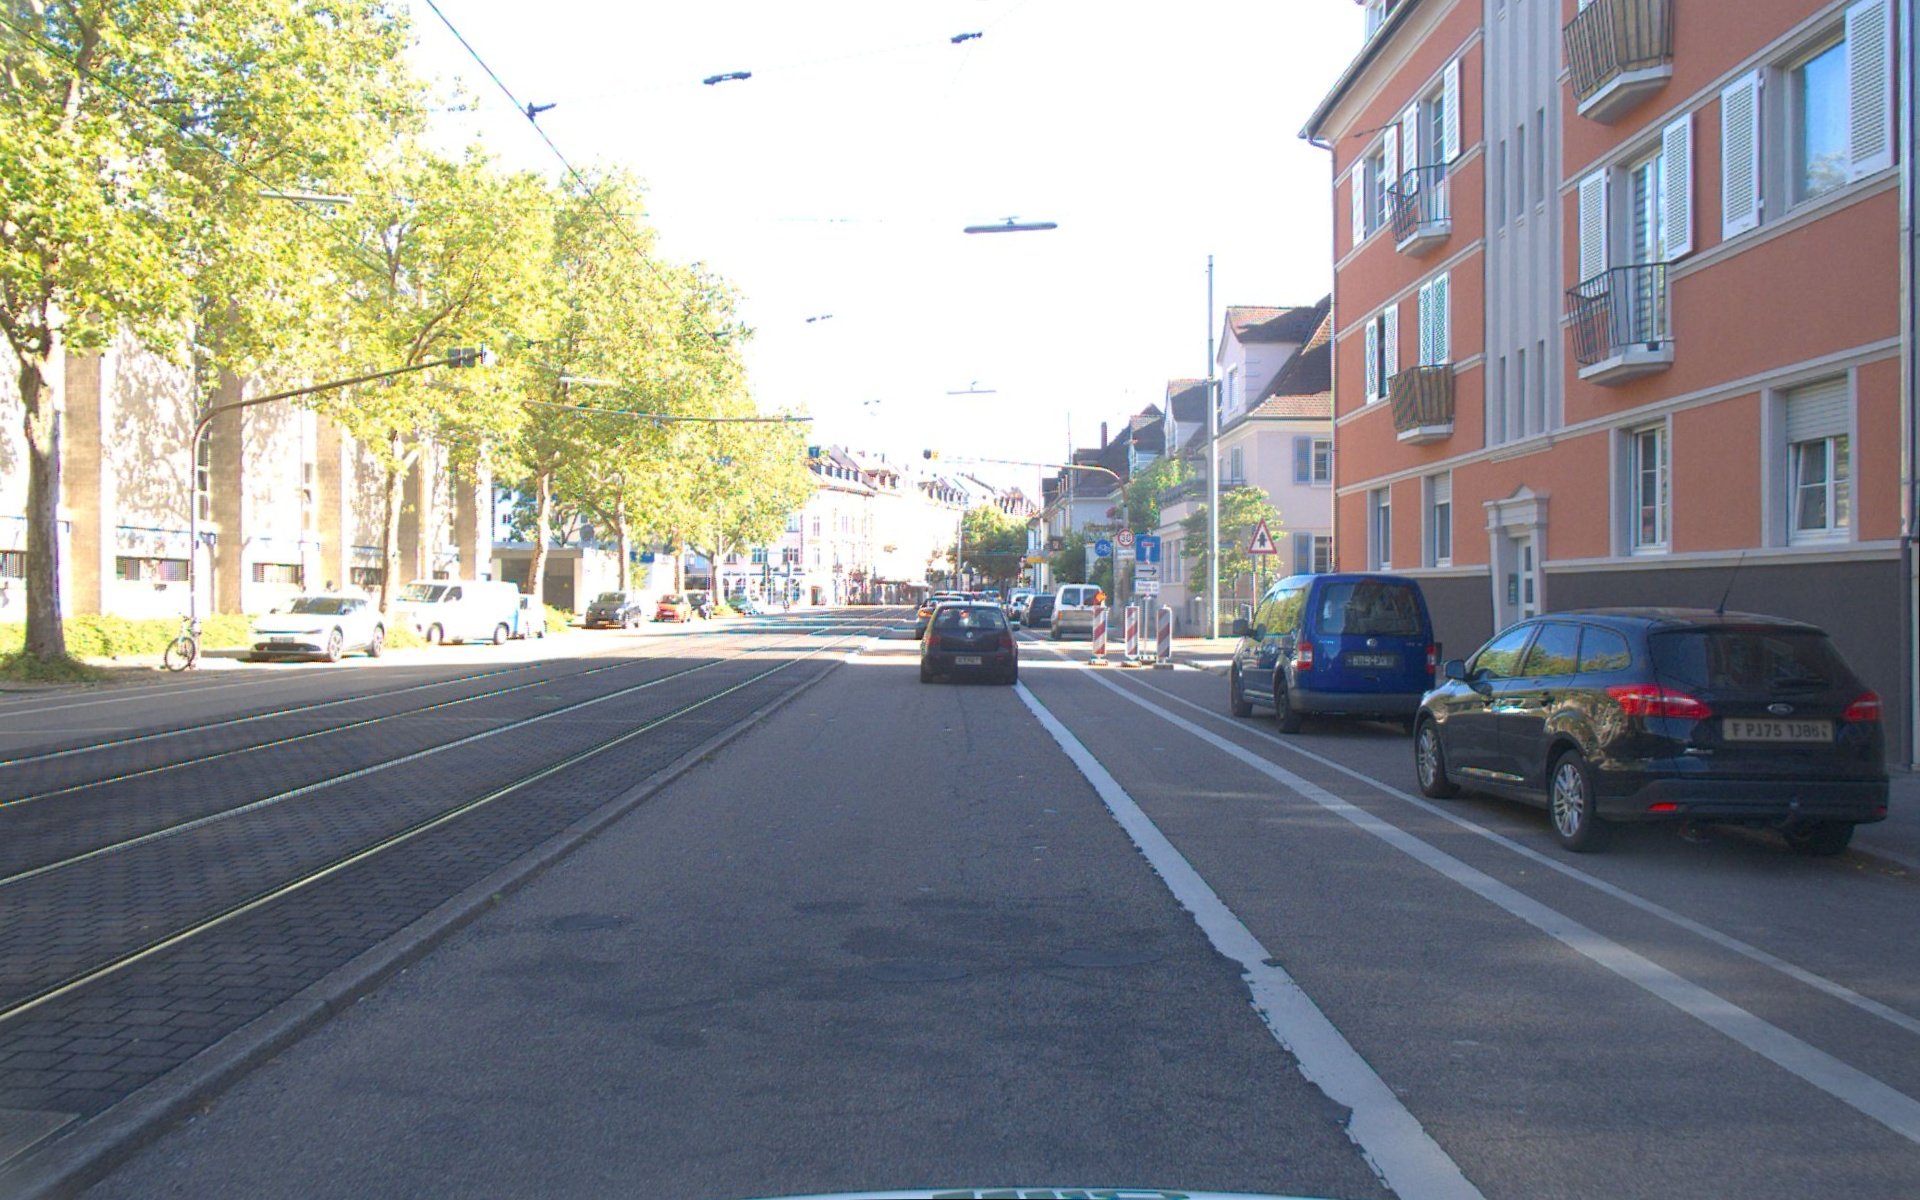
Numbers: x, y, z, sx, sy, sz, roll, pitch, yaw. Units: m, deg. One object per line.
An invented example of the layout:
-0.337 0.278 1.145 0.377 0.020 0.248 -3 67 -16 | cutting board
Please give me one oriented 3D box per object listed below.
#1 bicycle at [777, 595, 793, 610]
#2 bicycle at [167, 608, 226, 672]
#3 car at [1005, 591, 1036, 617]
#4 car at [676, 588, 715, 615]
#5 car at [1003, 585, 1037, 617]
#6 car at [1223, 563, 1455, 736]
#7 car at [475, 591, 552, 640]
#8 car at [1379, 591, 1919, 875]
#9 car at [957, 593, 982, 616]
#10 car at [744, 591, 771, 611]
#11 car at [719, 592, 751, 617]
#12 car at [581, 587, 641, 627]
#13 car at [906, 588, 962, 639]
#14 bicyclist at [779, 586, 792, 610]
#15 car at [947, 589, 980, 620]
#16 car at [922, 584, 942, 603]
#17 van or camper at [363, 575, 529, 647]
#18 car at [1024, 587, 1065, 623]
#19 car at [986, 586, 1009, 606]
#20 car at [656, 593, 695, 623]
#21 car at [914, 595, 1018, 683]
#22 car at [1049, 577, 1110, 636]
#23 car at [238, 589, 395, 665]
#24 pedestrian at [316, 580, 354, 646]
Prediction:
-13.647 0.221 129.082 0.895 1.102 3.202 1 1 -1 | bicycle
-15.471 0.793 33.531 0.570 1.230 1.652 1 1 -7 | bicycle
3.393 0.204 92.969 1.548 1.399 4.000 0 0 -1 | car
-15.897 0.079 99.559 1.756 1.491 3.835 2 0 -1 | car
3.519 0.045 97.726 1.780 1.830 4.000 0 0 -1 | car
4.462 0.524 20.119 1.668 1.842 4.270 1 0 -2 | car
-15.310 0.499 56.927 1.542 1.533 4.090 1 1 -1 | car
4.526 0.736 11.644 1.719 1.538 4.760 1 0 -3 | car
0.615 0.271 111.731 1.603 1.498 3.729 0 0 -1 | car
-15.351 0.089 125.496 1.603 1.498 3.729 0 0 -1 | car
-16.176 0.300 119.029 1.846 1.698 3.803 1 1 -2 | car
-15.507 0.282 73.672 1.849 1.695 4.000 0 0 -1 | car
-0.816 0.403 53.766 1.713 1.564 3.891 0 1 0 | car
-13.659 -0.177 129.224 0.895 1.865 0.960 1 0 -1 | bicyclist
0.169 0.198 83.242 1.603 1.498 3.729 0 0 -1 | car
-2.310 -0.552 137.682 1.603 1.498 3.729 -2 0 -1 | car
-15.275 0.297 49.465 2.017 1.983 5.191 2 1 19 | van or camper
3.826 0.204 75.197 1.627 1.552 4.036 0 0 -1 | car
2.814 -0.296 124.881 1.603 1.498 3.729 0 0 -1 | car
-15.525 0.442 90.264 1.538 1.560 3.572 0 -1 -1 | car
0.044 0.646 29.454 1.713 1.399 3.999 -1 1 -2 | car
3.976 0.200 55.439 1.723 1.870 3.547 1 1 -1 | car
-15.108 0.595 39.117 1.971 1.600 4.692 1 1 -2 | car
-17.746 0.369 46.994 0.780 1.852 0.670 1 0 -1 | pedestrian
